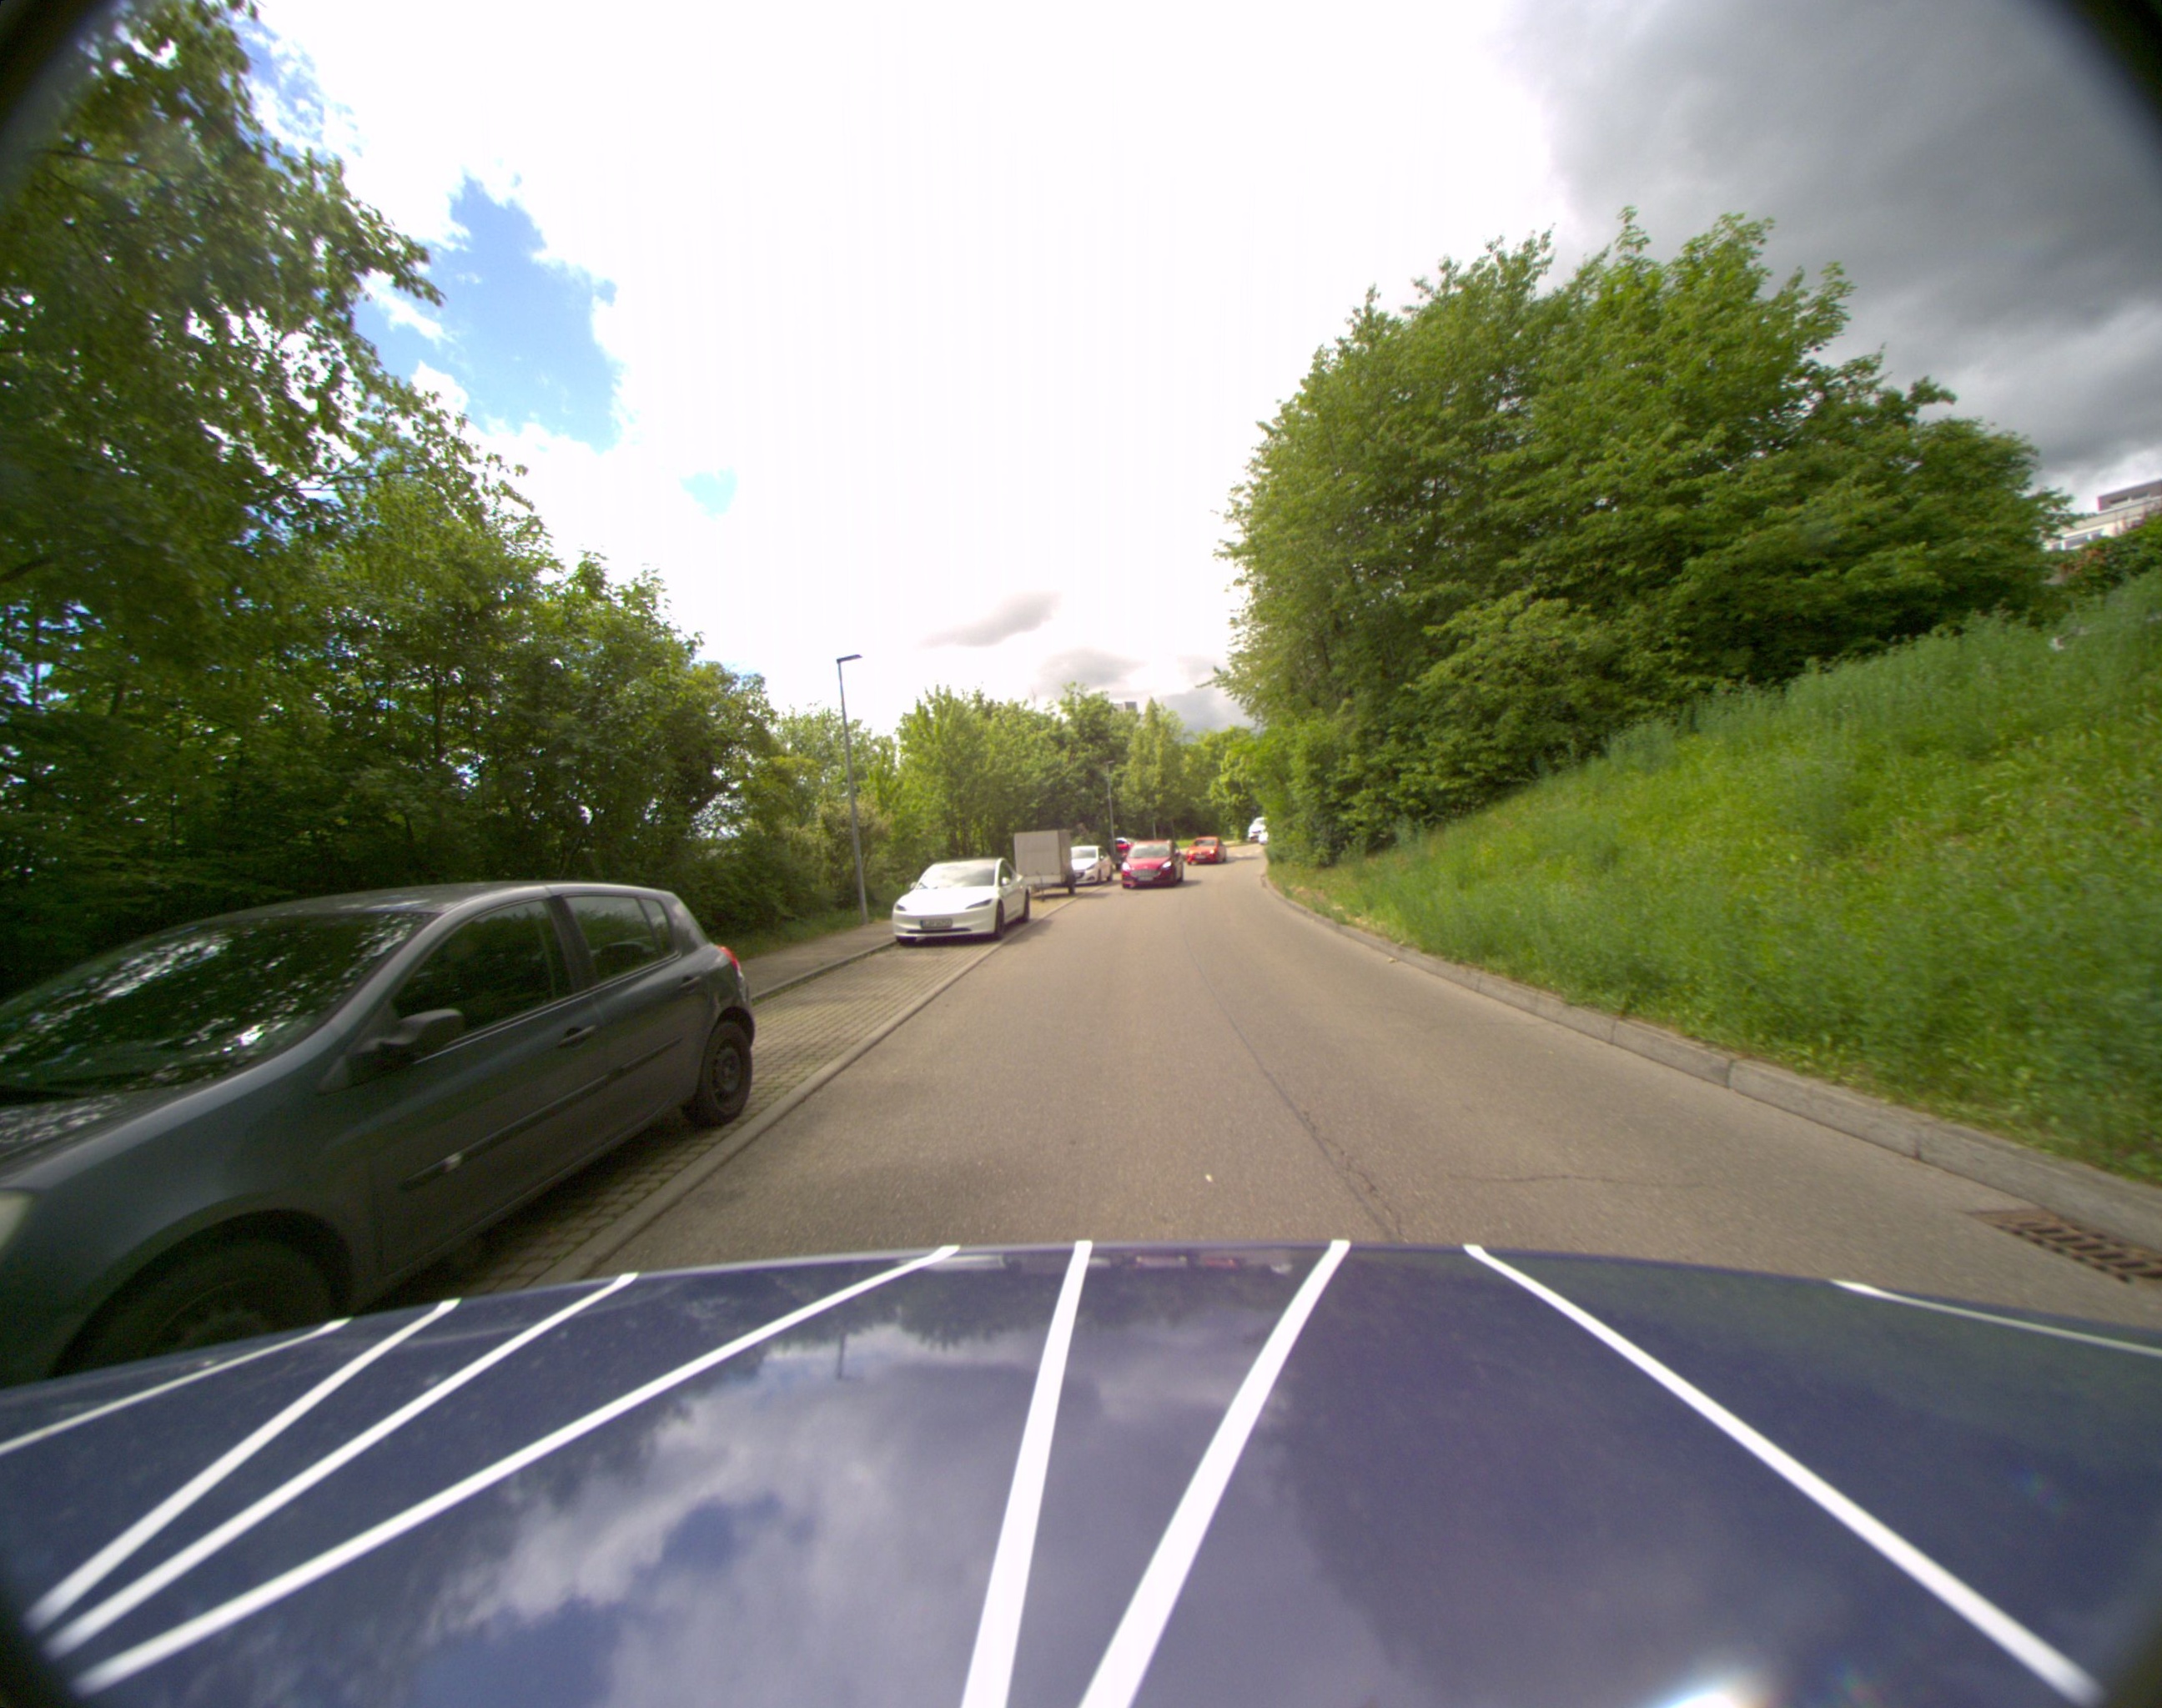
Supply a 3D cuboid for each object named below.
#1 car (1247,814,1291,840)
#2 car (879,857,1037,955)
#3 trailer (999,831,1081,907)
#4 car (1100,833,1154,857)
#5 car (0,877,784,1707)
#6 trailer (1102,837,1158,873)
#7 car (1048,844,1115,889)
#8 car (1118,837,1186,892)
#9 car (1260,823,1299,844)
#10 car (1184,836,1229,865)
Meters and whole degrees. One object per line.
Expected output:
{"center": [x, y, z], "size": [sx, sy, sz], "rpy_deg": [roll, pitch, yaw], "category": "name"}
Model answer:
{"center": [17.035, -2.484, 68.592], "size": [1.866, 2.048, 5.435], "rpy_deg": [-1, 3, 36], "category": "car"}
{"center": [-2.175, 0.870, 14.952], "size": [1.867, 1.468, 4.903], "rpy_deg": [-3, 1, 5], "category": "car"}
{"center": [-1.170, 0.382, 23.398], "size": [1.733, 2.067, 3.784], "rpy_deg": [-2, 2, 8], "category": "trailer"}
{"center": [3.347, -0.646, 55.763], "size": [3.479, 1.509, 1.654], "rpy_deg": [-3, 4, 36], "category": "car"}
{"center": [-2.976, 1.005, 2.902], "size": [1.773, 1.509, 4.107], "rpy_deg": [-4, 1, 3], "category": "car"}
{"center": [2.550, 0.006, 38.581], "size": [1.812, 1.570, 4.493], "rpy_deg": [-2, 2, 17], "category": "trailer"}
{"center": [0.077, 0.442, 29.230], "size": [1.708, 1.469, 3.785], "rpy_deg": [-2, 2, 13], "category": "car"}
{"center": [2.675, 0.311, 27.704], "size": [1.910, 1.689, 4.389], "rpy_deg": [-1, 3, 13], "category": "car"}
{"center": [16.068, -1.671, 61.419], "size": [1.793, 1.500, 4.120], "rpy_deg": [-3, 1, 31], "category": "car"}
{"center": [7.023, -0.231, 42.289], "size": [1.793, 1.405, 4.116], "rpy_deg": [-1, 3, 19], "category": "car"}
